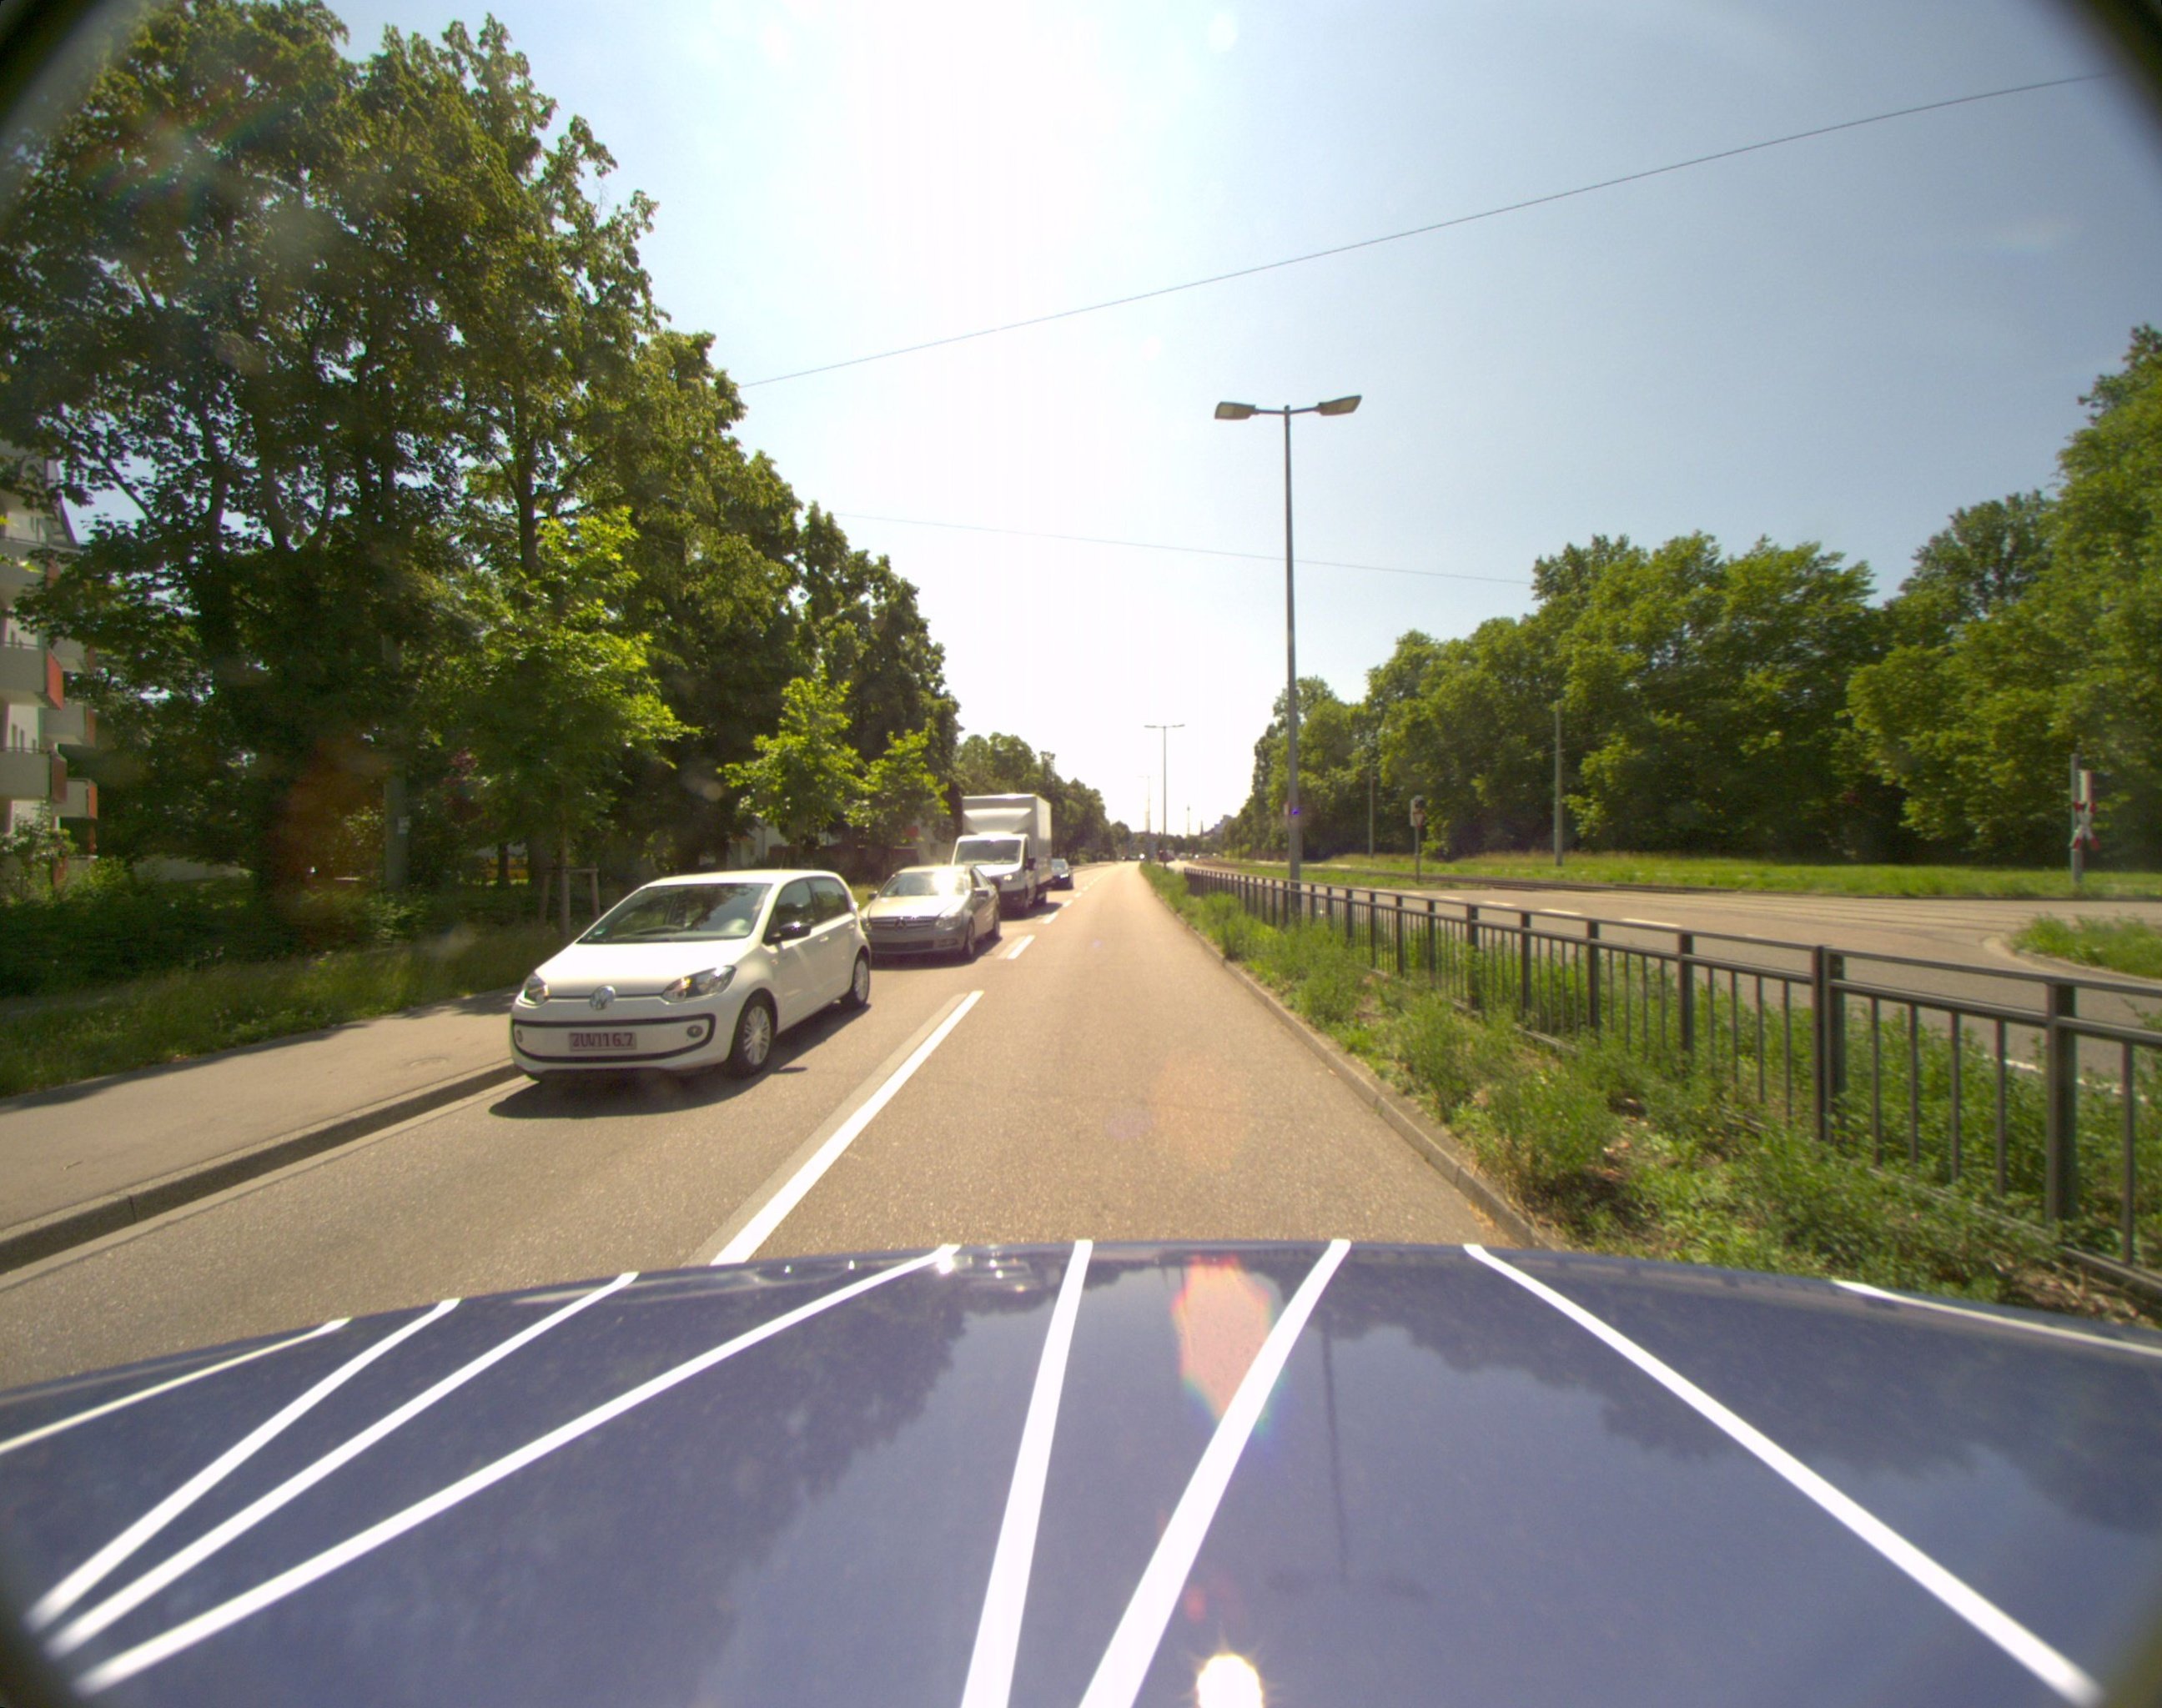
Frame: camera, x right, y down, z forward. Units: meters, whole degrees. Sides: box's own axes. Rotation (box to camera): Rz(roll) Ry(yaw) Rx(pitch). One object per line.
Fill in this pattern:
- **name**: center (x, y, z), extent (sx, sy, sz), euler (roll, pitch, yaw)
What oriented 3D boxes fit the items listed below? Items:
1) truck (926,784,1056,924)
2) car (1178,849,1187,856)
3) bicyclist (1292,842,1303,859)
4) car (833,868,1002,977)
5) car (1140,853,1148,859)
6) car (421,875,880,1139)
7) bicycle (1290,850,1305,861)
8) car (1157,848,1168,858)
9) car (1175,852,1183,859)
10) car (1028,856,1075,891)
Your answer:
- **truck**: center (-2.295, -0.008, 22.278), extent (2.433, 3.326, 7.923), euler (-1, 0, 3)
- **car**: center (26.835, -0.362, 200.829), extent (1.998, 1.847, 4.001), euler (-1, 0, 5)
- **bicyclist**: center (23.781, -0.379, 83.315), extent (0.862, 1.796, 1.118), euler (-1, 1, 1)
- **car**: center (-2.470, 0.986, 12.540), extent (1.840, 1.400, 4.087), euler (-1, 0, 1)
- **car**: center (16.556, 0.525, 199.806), extent (1.997, 1.499, 4.002), euler (-1, 0, 7)
- **car**: center (-3.122, 0.988, 6.518), extent (1.730, 1.470, 3.771), euler (-1, 0, 1)
- **bicycle**: center (23.765, 0.142, 83.377), extent (0.862, 1.155, 2.787), euler (-1, 0, 1)
- **car**: center (16.529, -0.206, 153.948), extent (1.997, 1.847, 4.002), euler (-1, 0, 7)
- **car**: center (26.732, 0.318, 207.341), extent (1.998, 1.847, 4.001), euler (-1, 0, 5)
- **car**: center (-1.367, 0.893, 36.468), extent (1.998, 1.499, 4.000), euler (-1, 0, 1)
